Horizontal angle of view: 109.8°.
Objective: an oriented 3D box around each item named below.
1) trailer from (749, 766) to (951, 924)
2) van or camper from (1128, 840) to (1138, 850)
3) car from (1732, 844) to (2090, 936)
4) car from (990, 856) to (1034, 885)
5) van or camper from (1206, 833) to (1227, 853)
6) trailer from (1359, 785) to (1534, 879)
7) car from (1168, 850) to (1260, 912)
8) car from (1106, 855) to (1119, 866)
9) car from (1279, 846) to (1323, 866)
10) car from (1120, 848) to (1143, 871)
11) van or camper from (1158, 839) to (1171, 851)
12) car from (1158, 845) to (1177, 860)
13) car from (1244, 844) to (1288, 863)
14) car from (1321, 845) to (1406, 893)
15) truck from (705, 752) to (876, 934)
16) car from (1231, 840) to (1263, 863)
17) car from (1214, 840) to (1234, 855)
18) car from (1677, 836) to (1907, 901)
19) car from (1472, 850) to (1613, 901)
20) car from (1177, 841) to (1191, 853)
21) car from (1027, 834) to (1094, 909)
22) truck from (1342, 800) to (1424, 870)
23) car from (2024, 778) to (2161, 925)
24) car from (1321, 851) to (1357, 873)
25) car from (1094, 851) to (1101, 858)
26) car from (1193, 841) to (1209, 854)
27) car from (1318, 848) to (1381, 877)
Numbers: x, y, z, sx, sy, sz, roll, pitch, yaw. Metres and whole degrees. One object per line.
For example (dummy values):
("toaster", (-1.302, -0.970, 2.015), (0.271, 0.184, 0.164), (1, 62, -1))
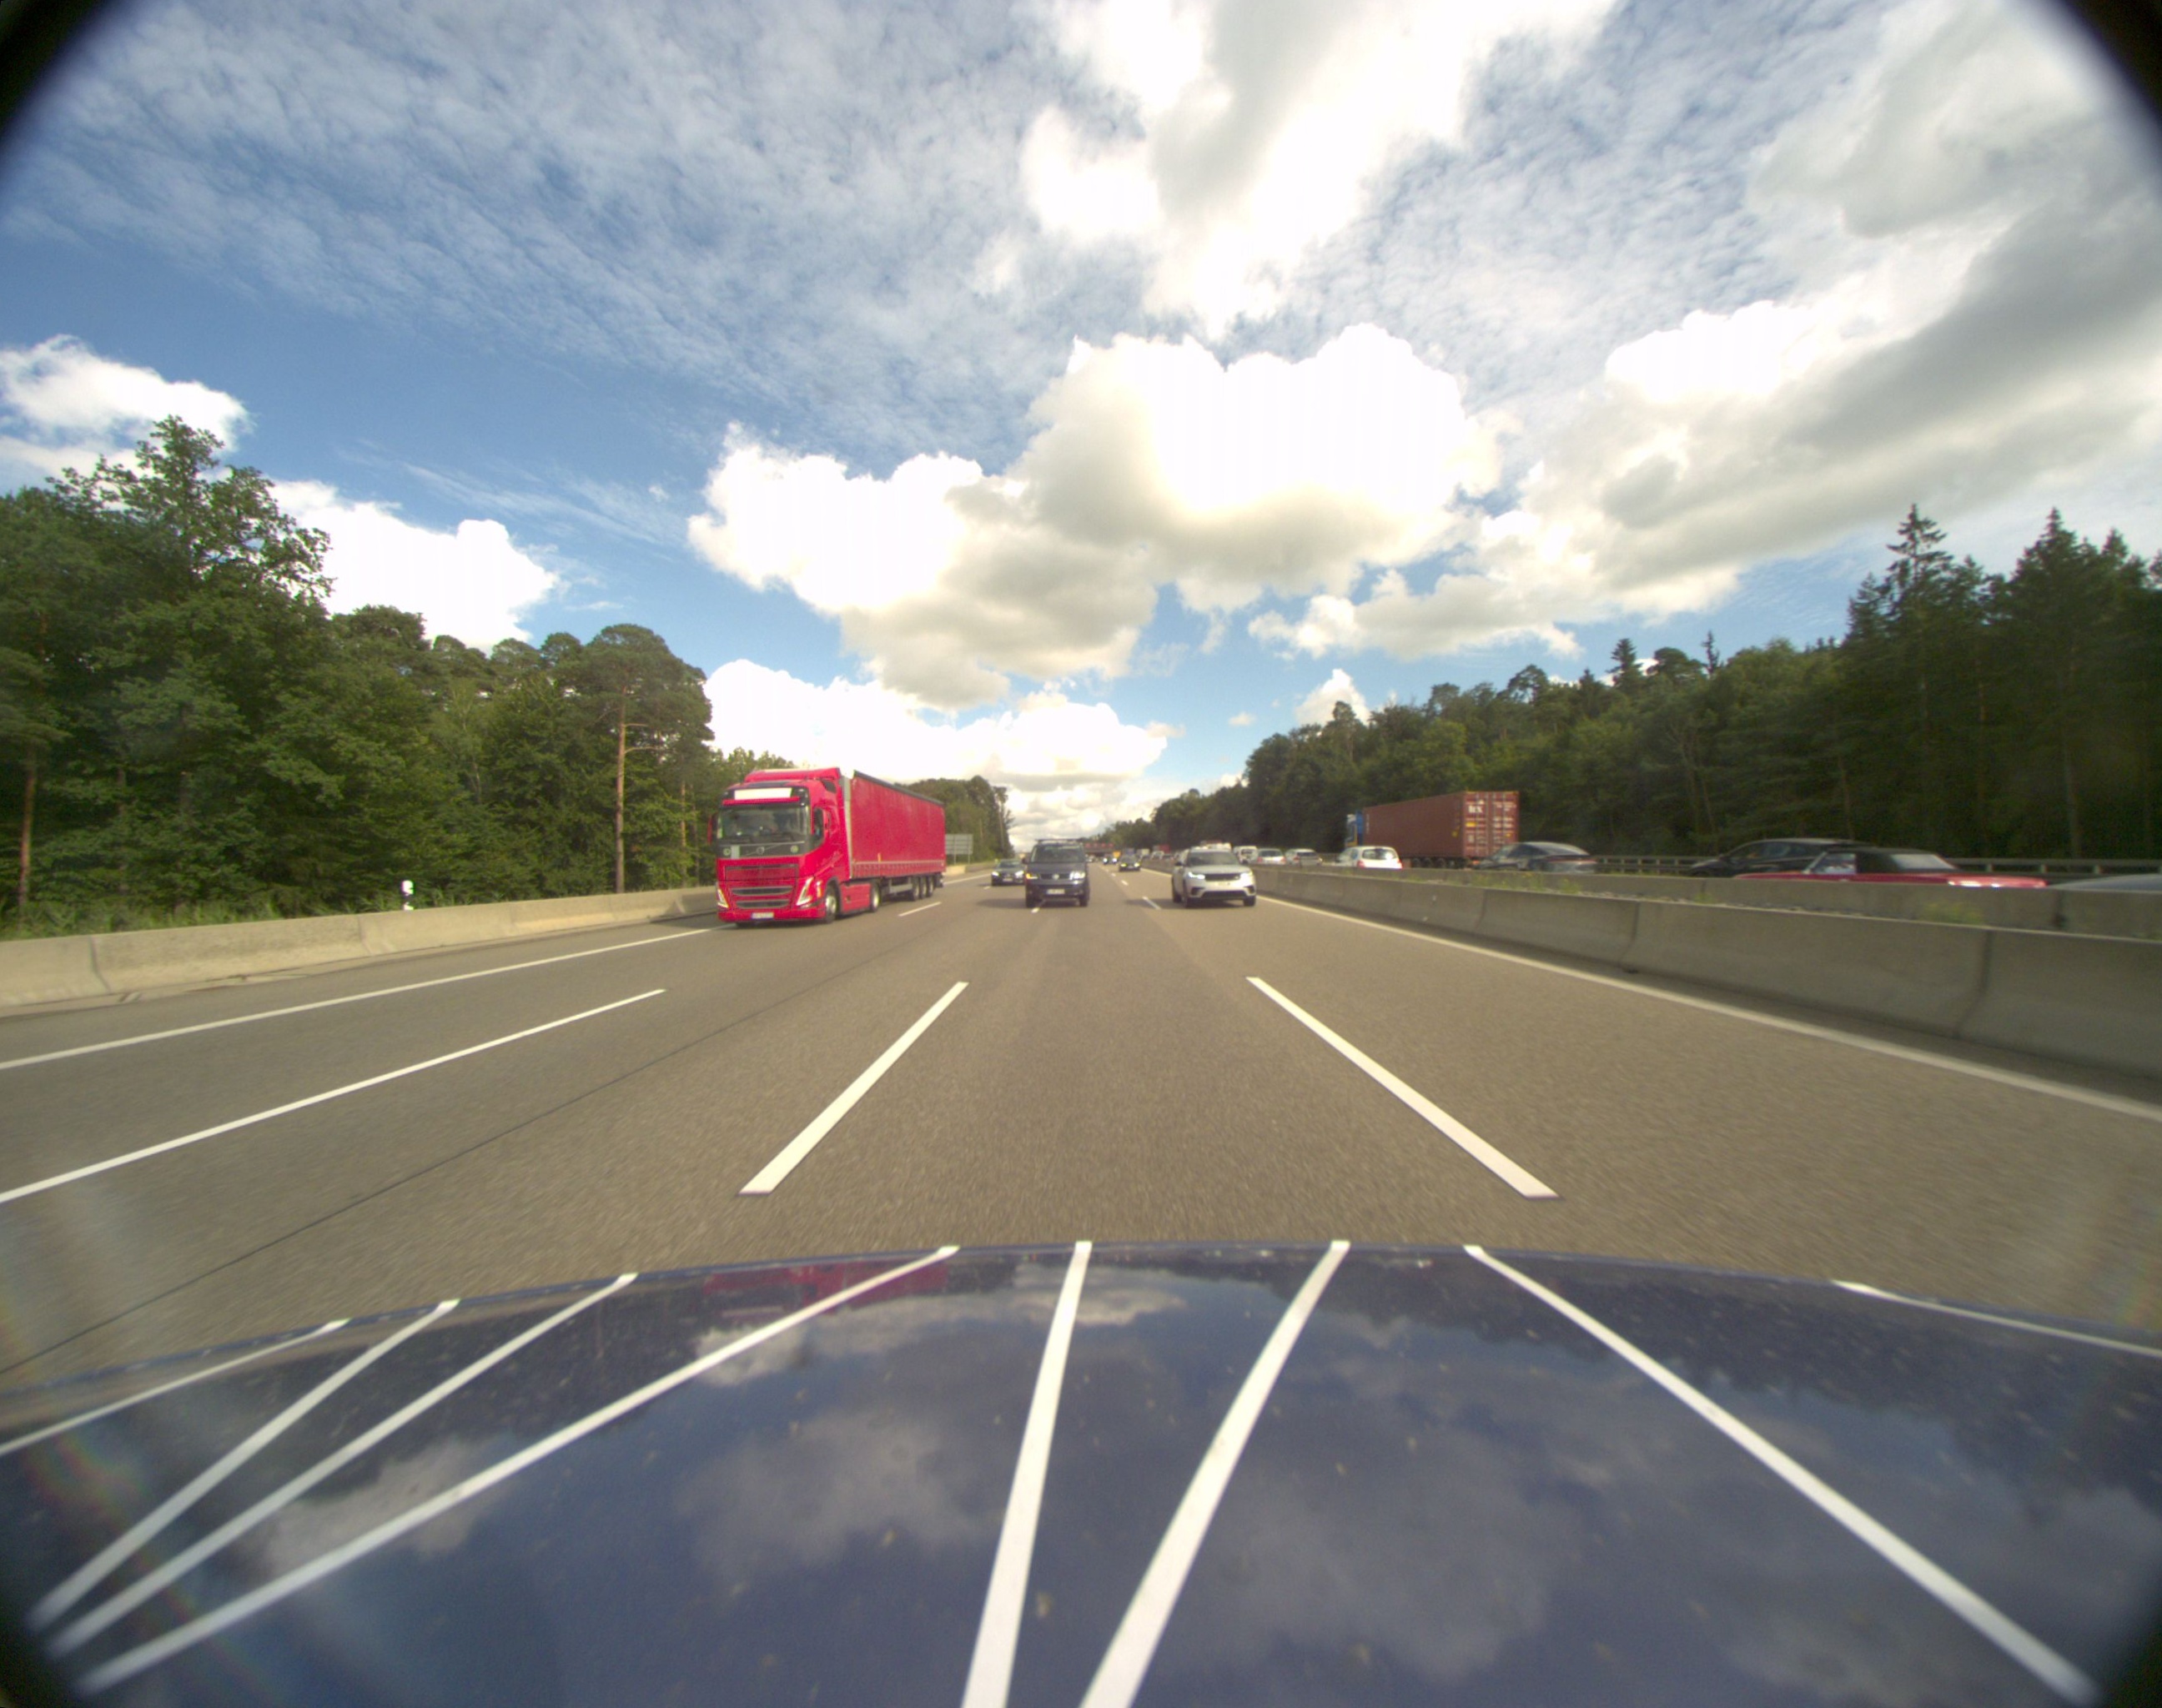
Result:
("trailer", (-7.314, -0.260, 27.198), (2.531, 4.095, 14.377), (-2, 0, 1))
("van or camper", (17.412, -3.049, 254.894), (2.956, 3.128, 6.884), (-2, 0, 1))
("car", (14.432, 0.543, 13.676), (1.693, 1.344, 4.329), (-2, 0, 0))
("car", (-3.834, 0.883, 42.643), (1.998, 1.434, 3.999), (-2, 1, 1))
("van or camper", (22.991, -1.843, 128.692), (2.602, 3.128, 5.208), (-2, 0, 1))
("trailer", (18.240, -1.019, 39.470), (2.957, 3.960, 12.891), (-2, 1, 1))
("car", (3.813, 0.724, 22.645), (1.904, 1.597, 5.106), (-2, 0, 1))
("car", (5.032, 1.011, 120.897), (1.911, 1.582, 4.287), (-2, 1, 1))
("car", (14.930, 0.109, 51.691), (1.877, 1.271, 4.000), (-2, 0, 1))
("car", (4.602, 0.456, 69.647), (1.919, 2.002, 4.000), (-1, 0, 1))
("van or camper", (22.679, -2.352, 206.567), (2.956, 3.128, 6.884), (-2, 0, 1))
("car", (11.202, -0.207, 98.245), (1.998, 1.838, 4.000), (-2, 0, 1))
("car", (10.592, -0.049, 43.784), (1.575, 0.992, 4.000), (-2, 0, 1))
("car", (10.111, 0.507, 27.455), (1.515, 1.552, 3.999), (-2, 0, -1))
("truck", (-7.402, -0.263, 20.029), (2.532, 4.178, 4.653), (-2, 0, 1))
("car", (14.897, -0.236, 68.472), (1.998, 2.002, 3.999), (-2, 1, 1))
("car", (19.328, -0.845, 102.792), (1.998, 2.002, 4.000), (-2, 0, 1))
("car", (17.753, 0.316, 19.329), (1.693, 1.428, 4.390), (-2, 0, -1))
("car", (14.147, 0.610, 23.604), (1.693, 1.389, 4.390), (-2, 0, 0))
("car", (18.871, -1.239, 139.113), (1.998, 2.002, 4.000), (-2, 0, 1))
("car", (-0.612, 0.548, 24.726), (1.927, 2.153, 4.961), (-1, 0, 0))
("truck", (18.359, -1.084, 46.531), (2.963, 3.963, 5.152), (-2, 0, 1))
("car", (9.400, -0.039, 4.745), (1.599, 1.167, 4.356), (-2, 0, 0))
("car", (24.731, 0.745, 72.974), (1.998, 2.002, 3.999), (-2, 1, 1))
("car", (4.467, 0.107, 209.012), (1.804, 1.783, 3.758), (-1, 0, 1))
("car", (18.839, -1.013, 119.306), (1.998, 2.002, 4.000), (-2, 0, 1))
("car", (14.020, 0.430, 39.929), (1.693, 1.389, 4.390), (-2, 0, 0))
